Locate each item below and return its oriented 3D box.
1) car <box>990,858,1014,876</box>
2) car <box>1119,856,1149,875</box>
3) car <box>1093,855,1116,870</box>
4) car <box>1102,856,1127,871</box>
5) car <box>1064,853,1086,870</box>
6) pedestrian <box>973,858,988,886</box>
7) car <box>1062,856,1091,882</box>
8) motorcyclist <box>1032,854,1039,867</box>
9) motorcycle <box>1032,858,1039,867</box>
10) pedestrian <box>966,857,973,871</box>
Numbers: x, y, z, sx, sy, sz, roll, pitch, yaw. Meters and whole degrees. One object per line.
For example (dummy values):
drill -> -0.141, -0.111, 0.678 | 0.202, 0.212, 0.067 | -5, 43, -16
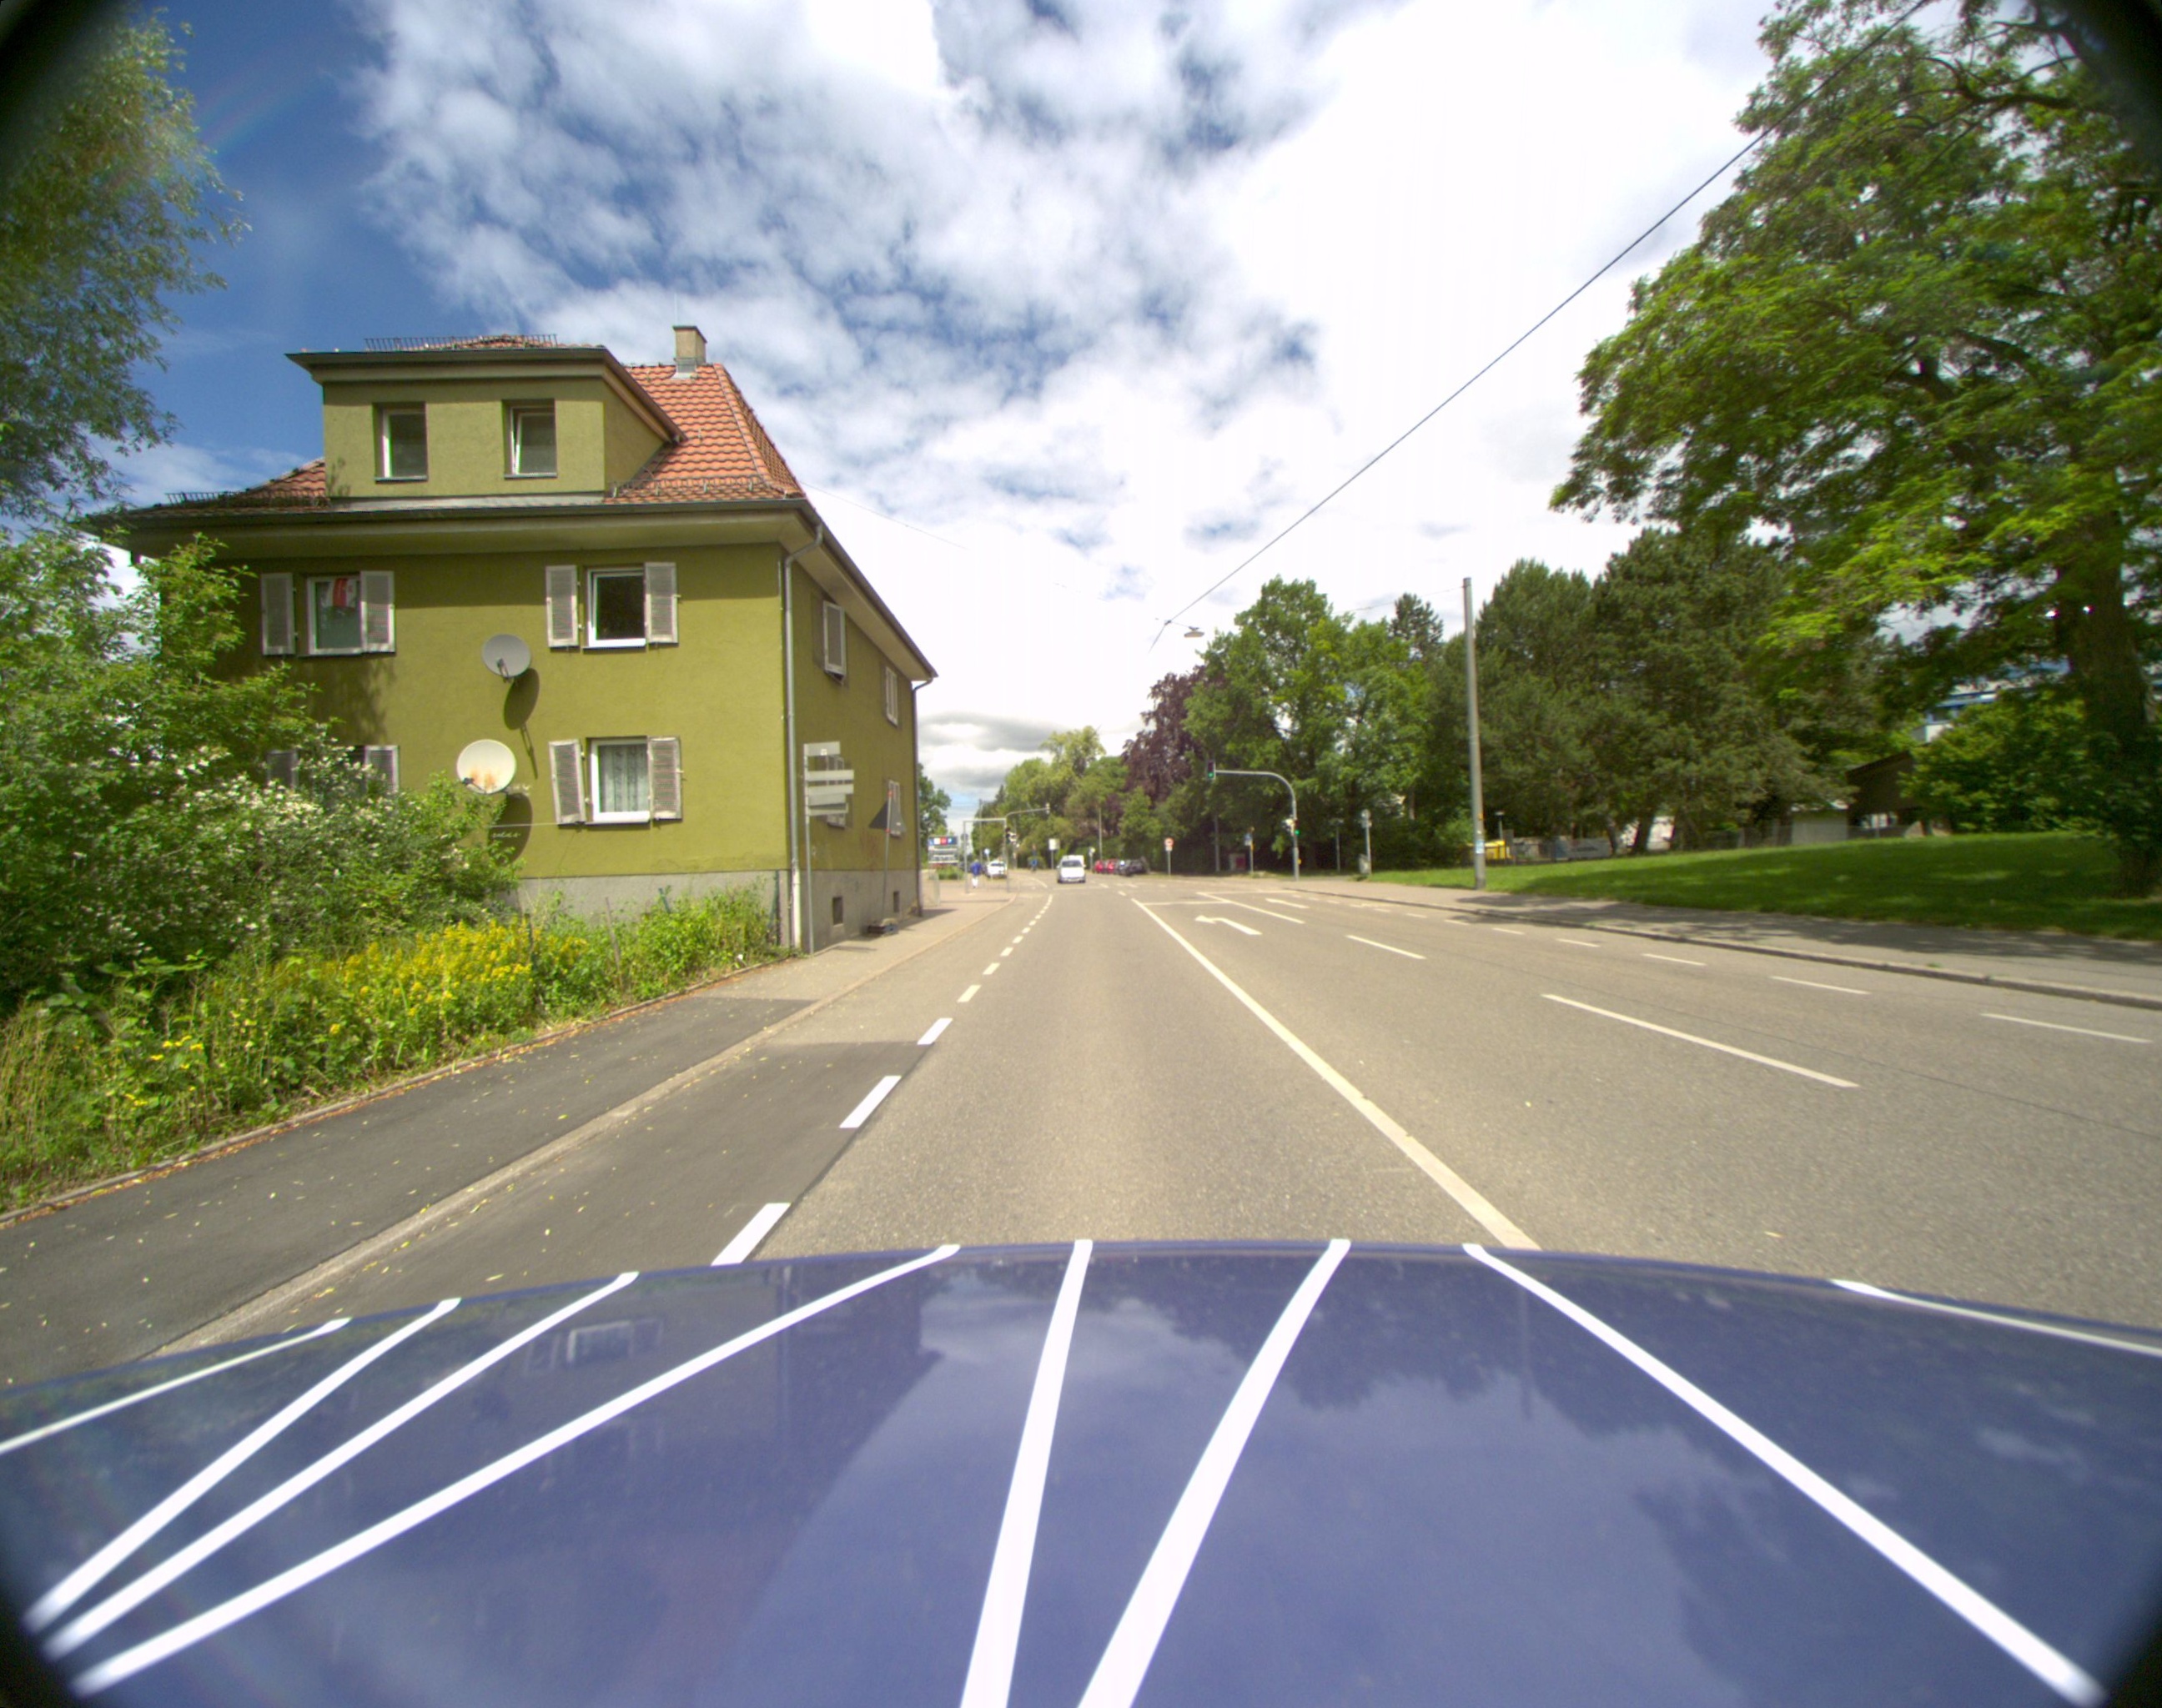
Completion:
car -> -7.146, 1.118, 69.103 | 1.799, 1.501, 3.999 | -2, 0, 0
car -> 4.687, 0.994, 67.536 | 1.900, 1.501, 3.997 | 0, 1, -7
car -> 2.472, 0.914, 82.202 | 1.900, 1.501, 3.997 | 0, 1, -7
car -> 3.349, 0.936, 77.218 | 1.900, 1.501, 3.997 | 0, 1, -7
car -> -0.673, 0.813, 83.571 | 1.800, 1.787, 4.499 | -1, 0, -9
pedestrian -> -5.589, 0.997, 42.215 | 0.729, 1.543, 1.056 | -2, 0, -10
car -> -0.283, 0.962, 49.979 | 1.781, 1.519, 4.000 | -3, 0, 0
motorcyclist -> -5.549, 0.741, 92.434 | 0.837, 1.547, 0.650 | 0, 1, -1
motorcycle -> -5.546, 1.020, 92.433 | 0.837, 1.101, 1.800 | 0, 0, -1
pedestrian -> -12.985, 1.178, 88.467 | 0.723, 1.651, 0.777 | -4, 1, -4
